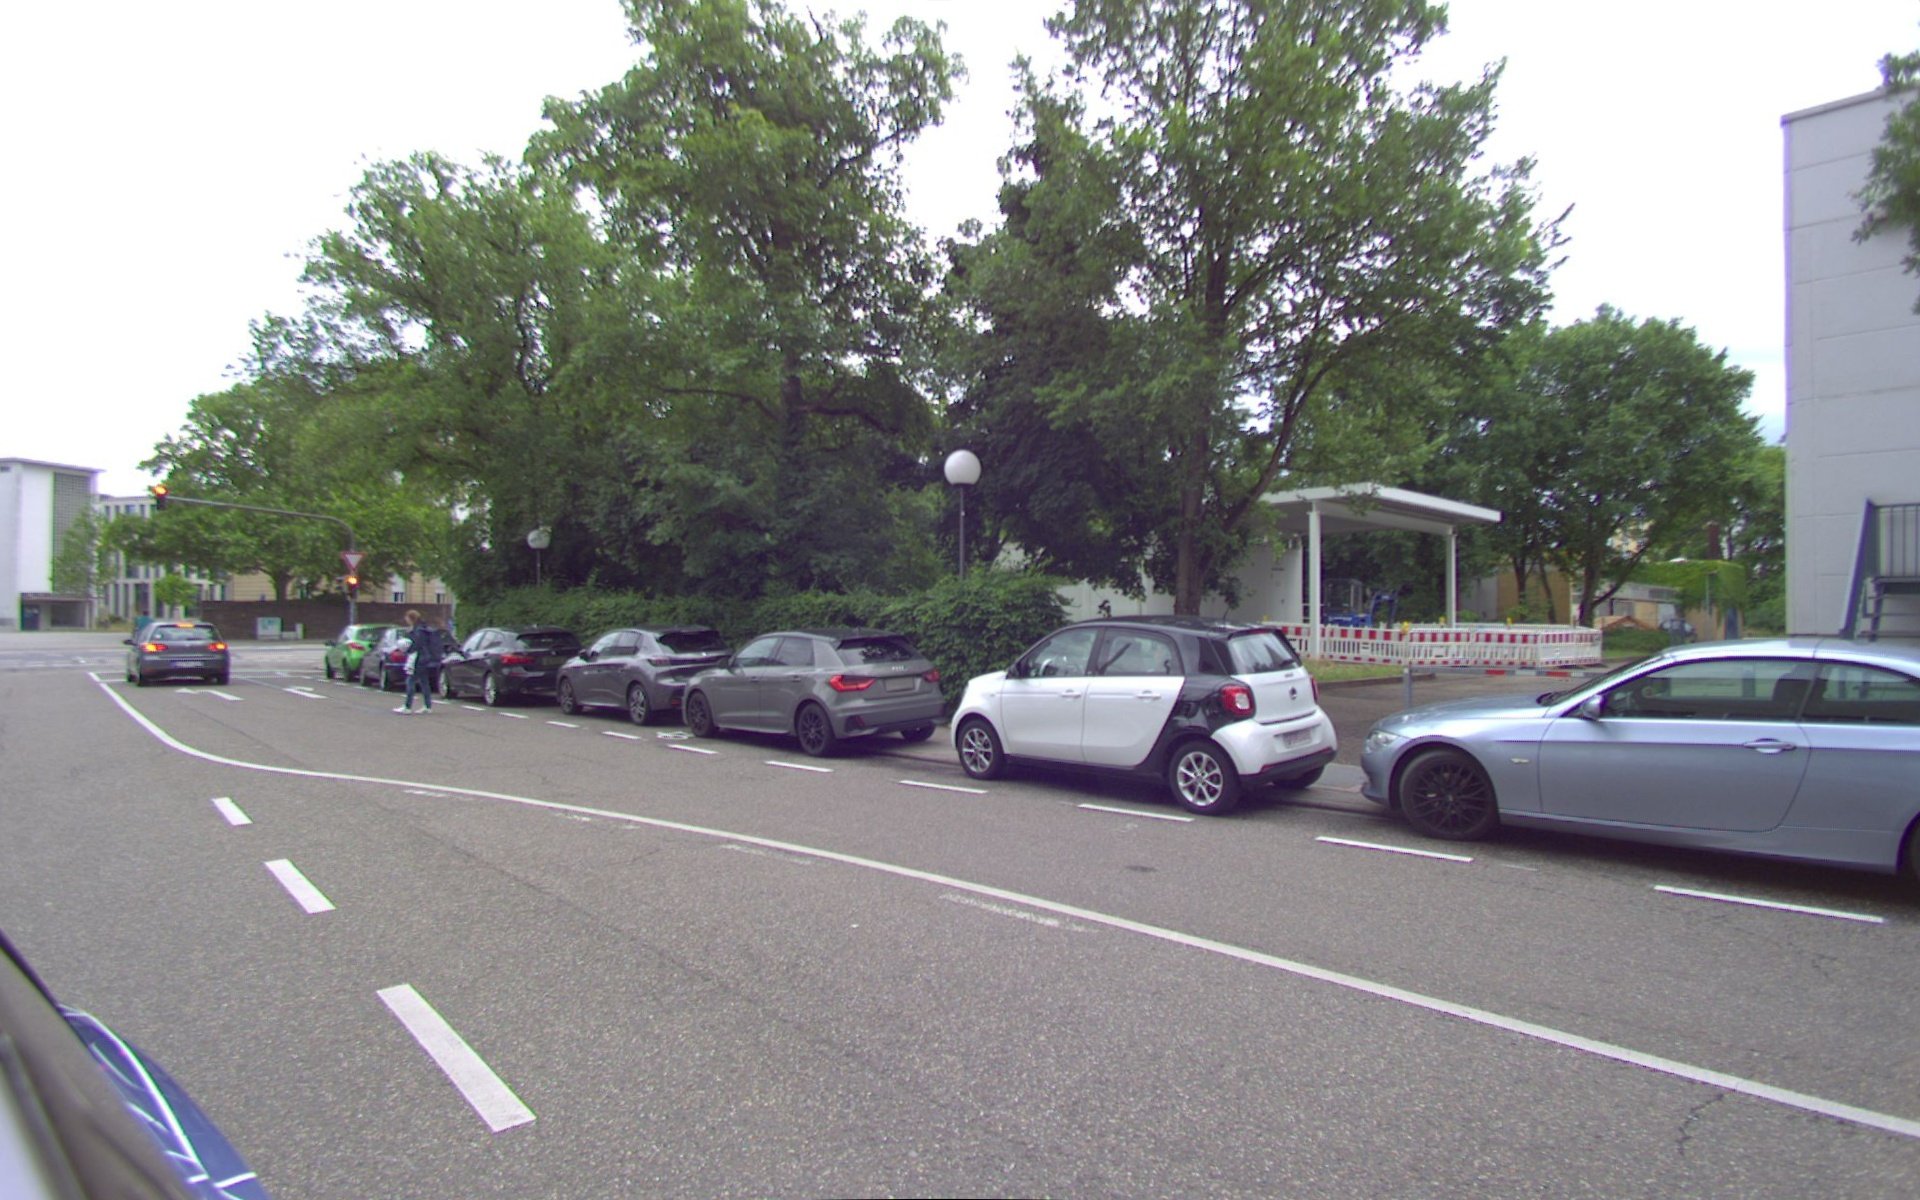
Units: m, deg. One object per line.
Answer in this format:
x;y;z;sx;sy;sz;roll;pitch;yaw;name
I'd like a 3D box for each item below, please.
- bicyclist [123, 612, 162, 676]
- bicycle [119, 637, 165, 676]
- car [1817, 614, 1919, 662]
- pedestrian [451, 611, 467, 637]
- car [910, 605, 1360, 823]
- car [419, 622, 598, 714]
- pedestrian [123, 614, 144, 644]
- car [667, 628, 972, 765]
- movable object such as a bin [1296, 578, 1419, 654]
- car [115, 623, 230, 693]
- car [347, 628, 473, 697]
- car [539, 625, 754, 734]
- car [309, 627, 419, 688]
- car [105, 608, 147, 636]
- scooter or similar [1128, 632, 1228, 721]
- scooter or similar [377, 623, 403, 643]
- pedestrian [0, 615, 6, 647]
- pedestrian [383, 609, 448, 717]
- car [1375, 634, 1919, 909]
-23.410;1.235;28.966;0.983;1.793;0.650;-1;-2;40;bicyclist
-23.415;1.609;28.962;1.856;1.045;0.650;-1;-2;40;bicycle
31.321;1.277;34.660;1.866;1.541;3.741;-1;-2;21;car
-33.252;1.592;67.192;0.778;1.706;0.634;1;-1;37;pedestrian
1.449;0.894;9.435;1.696;1.598;3.880;1;-2;-44;car
-8.871;1.253;19.674;1.776;1.573;4.534;2;-3;-43;car
-47.346;1.649;57.956;0.795;1.677;0.793;1;-4;-31;pedestrian
-1.885;1.078;12.666;1.743;1.422;4.011;1;-2;-45;car
12.439;0.548;31.534;2.000;2.188;4.603;-1;-3;43;movable object such as a bin
-18.906;1.330;24.229;1.762;1.508;4.172;2;-2;-43;car
-12.845;1.372;23.505;1.775;1.419;4.344;2;-2;-39;car
-5.056;1.157;16.044;1.741;1.482;3.828;2;-2;-43;car
-16.215;1.495;27.443;1.775;1.481;4.254;2;-2;-41;car
-70.470;1.883;85.589;1.968;1.593;4.414;-8;-3;-32;car
3.067;1.067;14.292;1.287;1.219;0.451;0;-1;-2;scooter or similar
-37.581;2.185;66.717;1.389;1.239;0.497;1;0;-24;scooter or similar
-51.230;1.633;53.693;0.617;1.679;0.617;-1;-1;7;pedestrian
-8.789;0.999;16.330;0.729;1.674;0.970;2;-4;-39;pedestrian
5.112;0.937;6.458;4.196;1.399;1.797;-2;-2;44;car
